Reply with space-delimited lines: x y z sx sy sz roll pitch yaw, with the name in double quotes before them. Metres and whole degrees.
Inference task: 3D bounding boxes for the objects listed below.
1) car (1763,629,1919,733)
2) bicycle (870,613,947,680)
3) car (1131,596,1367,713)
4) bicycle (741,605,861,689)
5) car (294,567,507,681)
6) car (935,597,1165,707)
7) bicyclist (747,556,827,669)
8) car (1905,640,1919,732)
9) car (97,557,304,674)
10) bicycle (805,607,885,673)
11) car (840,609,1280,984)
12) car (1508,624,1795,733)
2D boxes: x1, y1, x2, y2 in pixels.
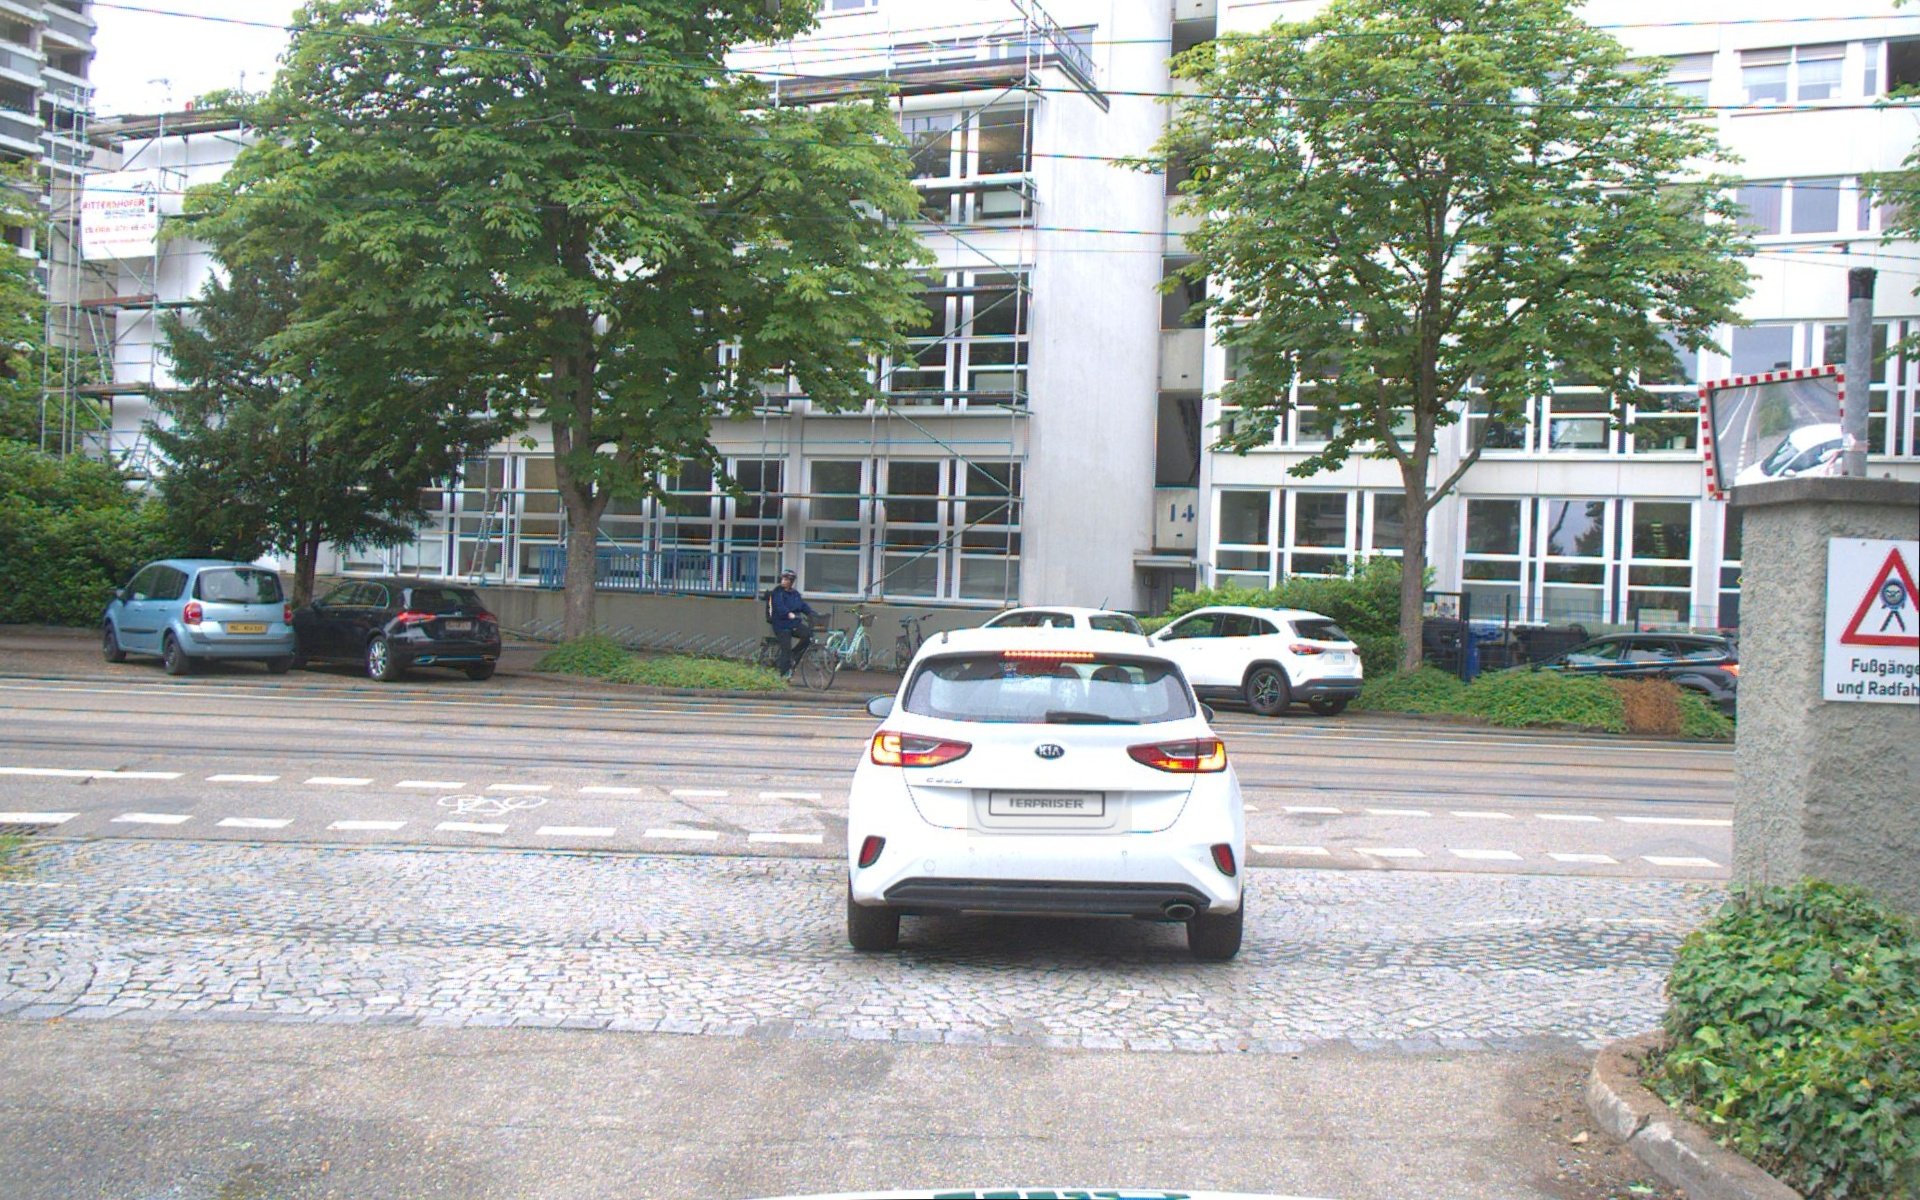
"car" 14.470 1.254 25.691 3.332 1.499 1.407 1 0 44
"bicycle" -0.948 0.843 30.942 0.631 1.093 2.313 2 2 19
"car" 4.447 0.794 25.708 1.545 1.646 3.353 2 0 -44
"bicycle" -2.483 0.719 25.650 1.883 1.194 0.816 2 0 45
"car" -8.272 0.322 24.359 3.279 1.537 1.608 1 0 43
"car" 1.323 0.748 25.174 1.545 1.499 3.353 2 0 -44
"bicyclist" -2.704 0.194 25.891 0.882 1.727 0.828 2 0 45
"car" 17.278 1.458 26.645 3.332 1.499 1.407 1 0 44
"car" -11.151 0.202 24.220 3.279 1.564 1.608 2 0 43
"bicycle" -2.170 0.736 31.432 0.631 1.093 2.313 2 2 19
"car" 0.489 0.859 8.631 1.738 1.458 3.979 1 -2 2
"car" 10.920 1.192 26.239 3.881 1.499 1.665 1 0 40
